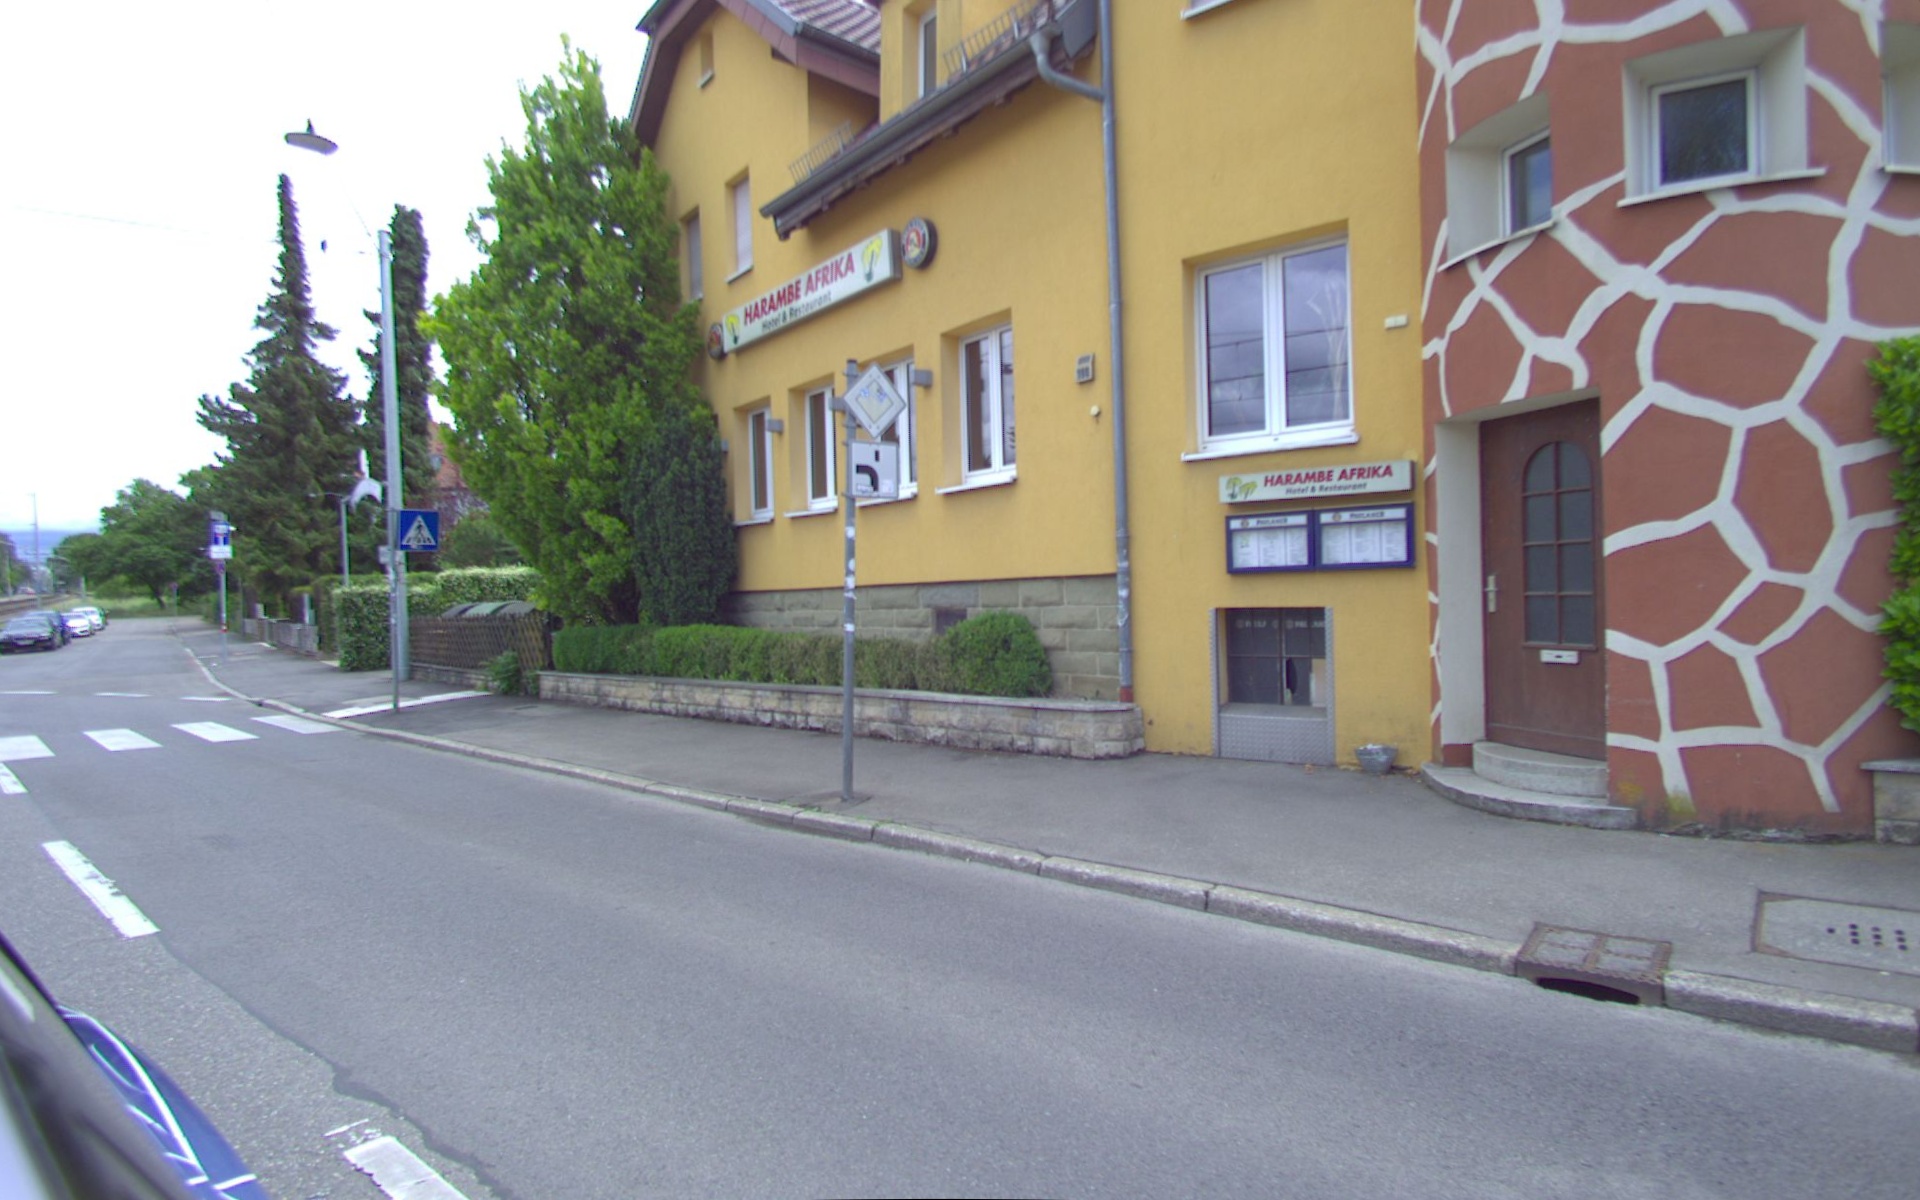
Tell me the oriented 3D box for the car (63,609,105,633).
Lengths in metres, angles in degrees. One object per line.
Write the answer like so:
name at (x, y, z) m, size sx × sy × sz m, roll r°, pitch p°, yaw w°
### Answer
car at (-56.717, 1.351, 65.584) m, size 1.825 × 1.386 × 4.008 m, roll -3°, pitch 1°, yaw -38°

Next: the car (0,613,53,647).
car at (-45.159, 1.411, 48.790) m, size 1.825 × 1.492 × 4.008 m, roll -3°, pitch 1°, yaw -38°

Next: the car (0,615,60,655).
car at (-39.648, 1.466, 43.083) m, size 1.794 × 1.512 × 4.126 m, roll -3°, pitch 2°, yaw -40°

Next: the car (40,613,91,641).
car at (-50.069, 1.475, 56.712) m, size 1.825 × 1.386 × 4.008 m, roll -3°, pitch 1°, yaw -38°
